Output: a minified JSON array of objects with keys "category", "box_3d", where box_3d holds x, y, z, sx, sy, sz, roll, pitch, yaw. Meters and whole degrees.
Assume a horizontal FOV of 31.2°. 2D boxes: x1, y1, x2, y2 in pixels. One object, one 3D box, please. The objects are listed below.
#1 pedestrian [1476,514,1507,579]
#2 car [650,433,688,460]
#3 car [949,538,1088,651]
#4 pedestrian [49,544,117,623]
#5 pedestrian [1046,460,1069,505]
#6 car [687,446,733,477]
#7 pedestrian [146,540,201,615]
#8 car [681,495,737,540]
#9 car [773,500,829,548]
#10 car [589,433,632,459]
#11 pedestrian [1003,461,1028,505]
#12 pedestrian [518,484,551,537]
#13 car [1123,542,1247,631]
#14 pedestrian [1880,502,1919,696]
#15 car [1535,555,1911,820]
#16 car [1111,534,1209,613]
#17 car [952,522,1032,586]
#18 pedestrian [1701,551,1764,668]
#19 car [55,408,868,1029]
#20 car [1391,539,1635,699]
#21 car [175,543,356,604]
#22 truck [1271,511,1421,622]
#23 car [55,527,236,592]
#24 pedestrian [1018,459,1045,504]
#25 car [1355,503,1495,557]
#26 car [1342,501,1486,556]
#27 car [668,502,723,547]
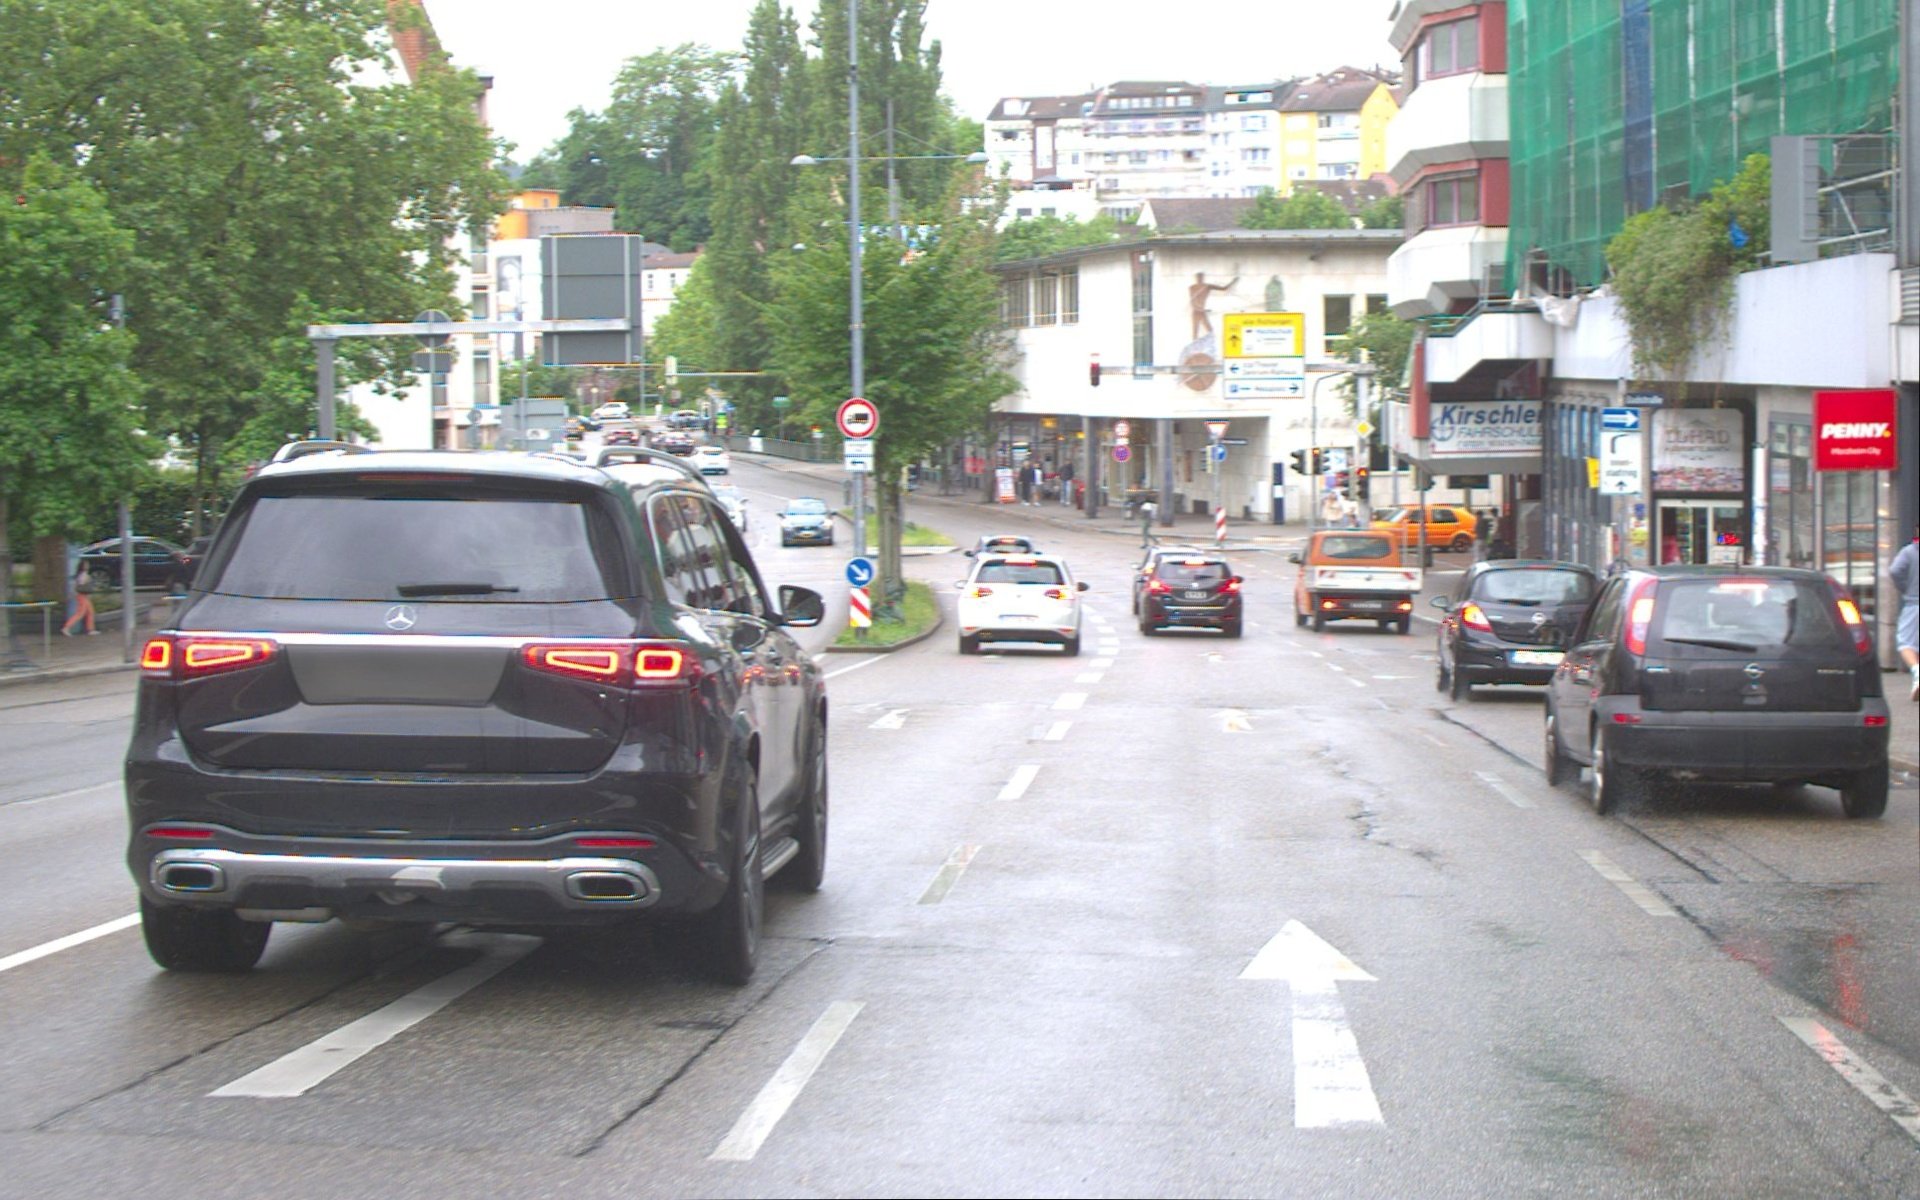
[{"category":"pedestrian","box_3d":[14.051,-1.409,90.944,0.575,1.694,0.651,-1,1,-12]},{"category":"car","box_3d":[-18.003,-9.507,212.661,1.831,1.583,3.875,0,1,-12]},{"category":"car","box_3d":[0.890,-0.118,50.564,1.950,1.568,4.000,0,1,2]},{"category":"pedestrian","box_3d":[-19.796,-0.368,77.612,0.951,1.716,1.013,0,4,37]},{"category":"pedestrian","box_3d":[3.985,-4.828,141.091,0.702,1.796,0.939,-1,1,-12]},{"category":"car","box_3d":[-13.274,-7.345,182.420,1.993,1.590,4.001,0,1,-11]},{"category":"pedestrian","box_3d":[-18.243,-0.517,79.731,0.950,1.716,0.759,-1,1,26]},{"category":"car","box_3d":[-8.755,-2.859,119.812,1.777,1.544,4.001,0,1,-7]},{"category":"car","box_3d":[-5.227,-2.508,112.998,1.820,1.544,4.001,0,1,-3]},{"category":"car","box_3d":[-21.771,-9.584,214.100,1.748,1.549,3.570,0,1,-21]},{"category":"pedestrian","box_3d":[2.273,-4.816,141.673,0.798,1.796,0.918,-1,1,-12]},{"category":"pedestrian","box_3d":[-14.484,-3.051,117.034,0.903,1.796,0.627,-2,1,-39]},{"category":"car","box_3d":[4.045,-0.268,62.444,1.811,1.436,4.001,2,2,-2]},{"category":"pedestrian","box_3d":[8.732,-0.023,30.868,0.836,1.716,0.829,-1,1,11]},{"category":"car","box_3d":[4.440,0.445,20.492,1.717,1.415,3.769,0,1,5]},{"category":"car","box_3d":[4.199,-0.577,72.691,1.760,1.537,4.001,0,2,-1]},{"category":"car","box_3d":[0.742,-1.121,82.346,1.794,1.463,4.001,0,2,-1]},{"category":"pedestrian","box_3d":[10.980,0.132,48.860,0.643,1.644,0.561,-2,0,44]},{"category":"car","box_3d":[-1.586,0.304,12.839,2.088,1.811,4.792,2,1,3]},{"category":"car","box_3d":[5.805,0.153,36.509,1.950,1.568,4.000,0,1,0]},{"category":"car","box_3d":[-18.320,-0.699,90.872,4.590,1.477,1.943,1,1,-10]},{"category":"truck","box_3d":[7.478,-0.690,67.103,2.183,2.075,5.604,0,1,-1]},{"category":"car","box_3d":[-22.003,-1.093,92.989,4.681,1.638,1.787,1,1,-12]},{"category":"pedestrian","box_3d":[2.910,-4.824,140.496,0.846,1.796,1.056,-1,1,-12]},{"category":"car","box_3d":[14.026,-2.099,103.793,3.814,1.611,1.775,0,1,-13]},{"category":"car","box_3d":[13.688,-2.155,103.726,3.996,1.611,1.775,0,1,-7]},{"category":"car","box_3d":[-8.637,-2.452,112.159,1.706,1.446,3.862,0,1,-5]}]
